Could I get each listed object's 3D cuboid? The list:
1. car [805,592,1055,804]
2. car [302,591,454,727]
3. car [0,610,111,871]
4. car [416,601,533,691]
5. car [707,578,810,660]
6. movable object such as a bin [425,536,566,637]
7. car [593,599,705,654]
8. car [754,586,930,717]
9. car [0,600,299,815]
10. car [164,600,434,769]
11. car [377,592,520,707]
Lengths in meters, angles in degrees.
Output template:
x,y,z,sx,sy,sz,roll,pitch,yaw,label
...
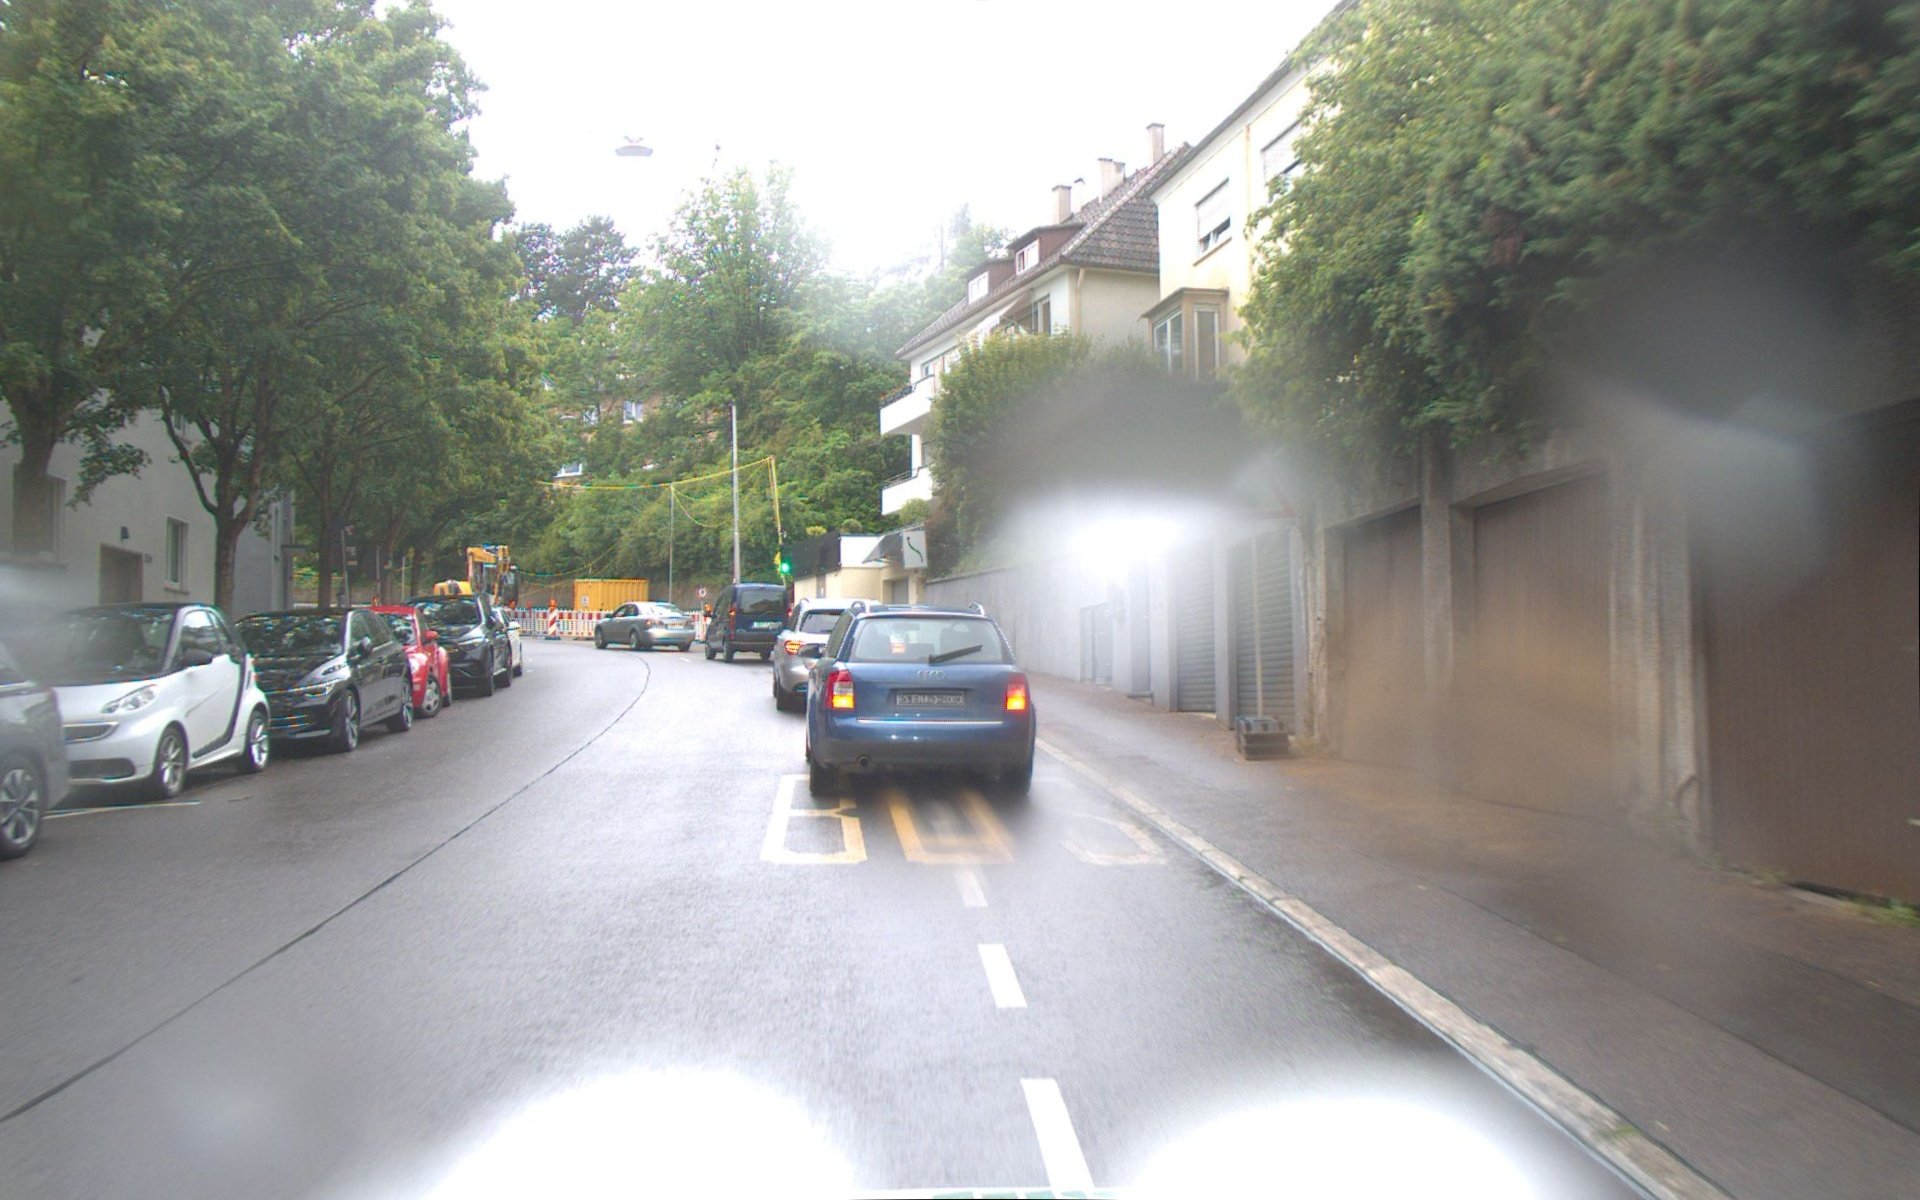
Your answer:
x,y,z,sx,sy,sz,roll,pitch,yaw,label
-0.347,0.690,13.674,1.751,1.467,3.960,-1,0,-4,car
-7.908,0.776,22.738,1.606,1.592,3.832,-4,0,-15,car
-6.389,0.870,8.654,1.631,1.514,4.473,-4,0,-2,car
-9.597,0.858,32.955,1.651,1.534,4.306,-4,1,-10,car
-4.945,0.443,40.179,1.960,1.825,3.985,-2,0,-14,car
-19.846,-0.569,70.389,2.806,4.084,7.211,0,0,-43,movable object such as a bin
-9.311,0.777,49.319,1.708,1.512,4.023,-2,0,-37,car
-1.748,0.634,23.119,1.892,1.646,4.307,0,0,-12,car
-7.026,0.838,14.111,1.525,1.537,3.380,-4,0,-4,car
-7.013,0.837,17.984,1.525,1.514,4.093,-4,0,-5,car
-8.577,0.762,28.071,1.652,1.636,4.565,-5,1,-10,car
